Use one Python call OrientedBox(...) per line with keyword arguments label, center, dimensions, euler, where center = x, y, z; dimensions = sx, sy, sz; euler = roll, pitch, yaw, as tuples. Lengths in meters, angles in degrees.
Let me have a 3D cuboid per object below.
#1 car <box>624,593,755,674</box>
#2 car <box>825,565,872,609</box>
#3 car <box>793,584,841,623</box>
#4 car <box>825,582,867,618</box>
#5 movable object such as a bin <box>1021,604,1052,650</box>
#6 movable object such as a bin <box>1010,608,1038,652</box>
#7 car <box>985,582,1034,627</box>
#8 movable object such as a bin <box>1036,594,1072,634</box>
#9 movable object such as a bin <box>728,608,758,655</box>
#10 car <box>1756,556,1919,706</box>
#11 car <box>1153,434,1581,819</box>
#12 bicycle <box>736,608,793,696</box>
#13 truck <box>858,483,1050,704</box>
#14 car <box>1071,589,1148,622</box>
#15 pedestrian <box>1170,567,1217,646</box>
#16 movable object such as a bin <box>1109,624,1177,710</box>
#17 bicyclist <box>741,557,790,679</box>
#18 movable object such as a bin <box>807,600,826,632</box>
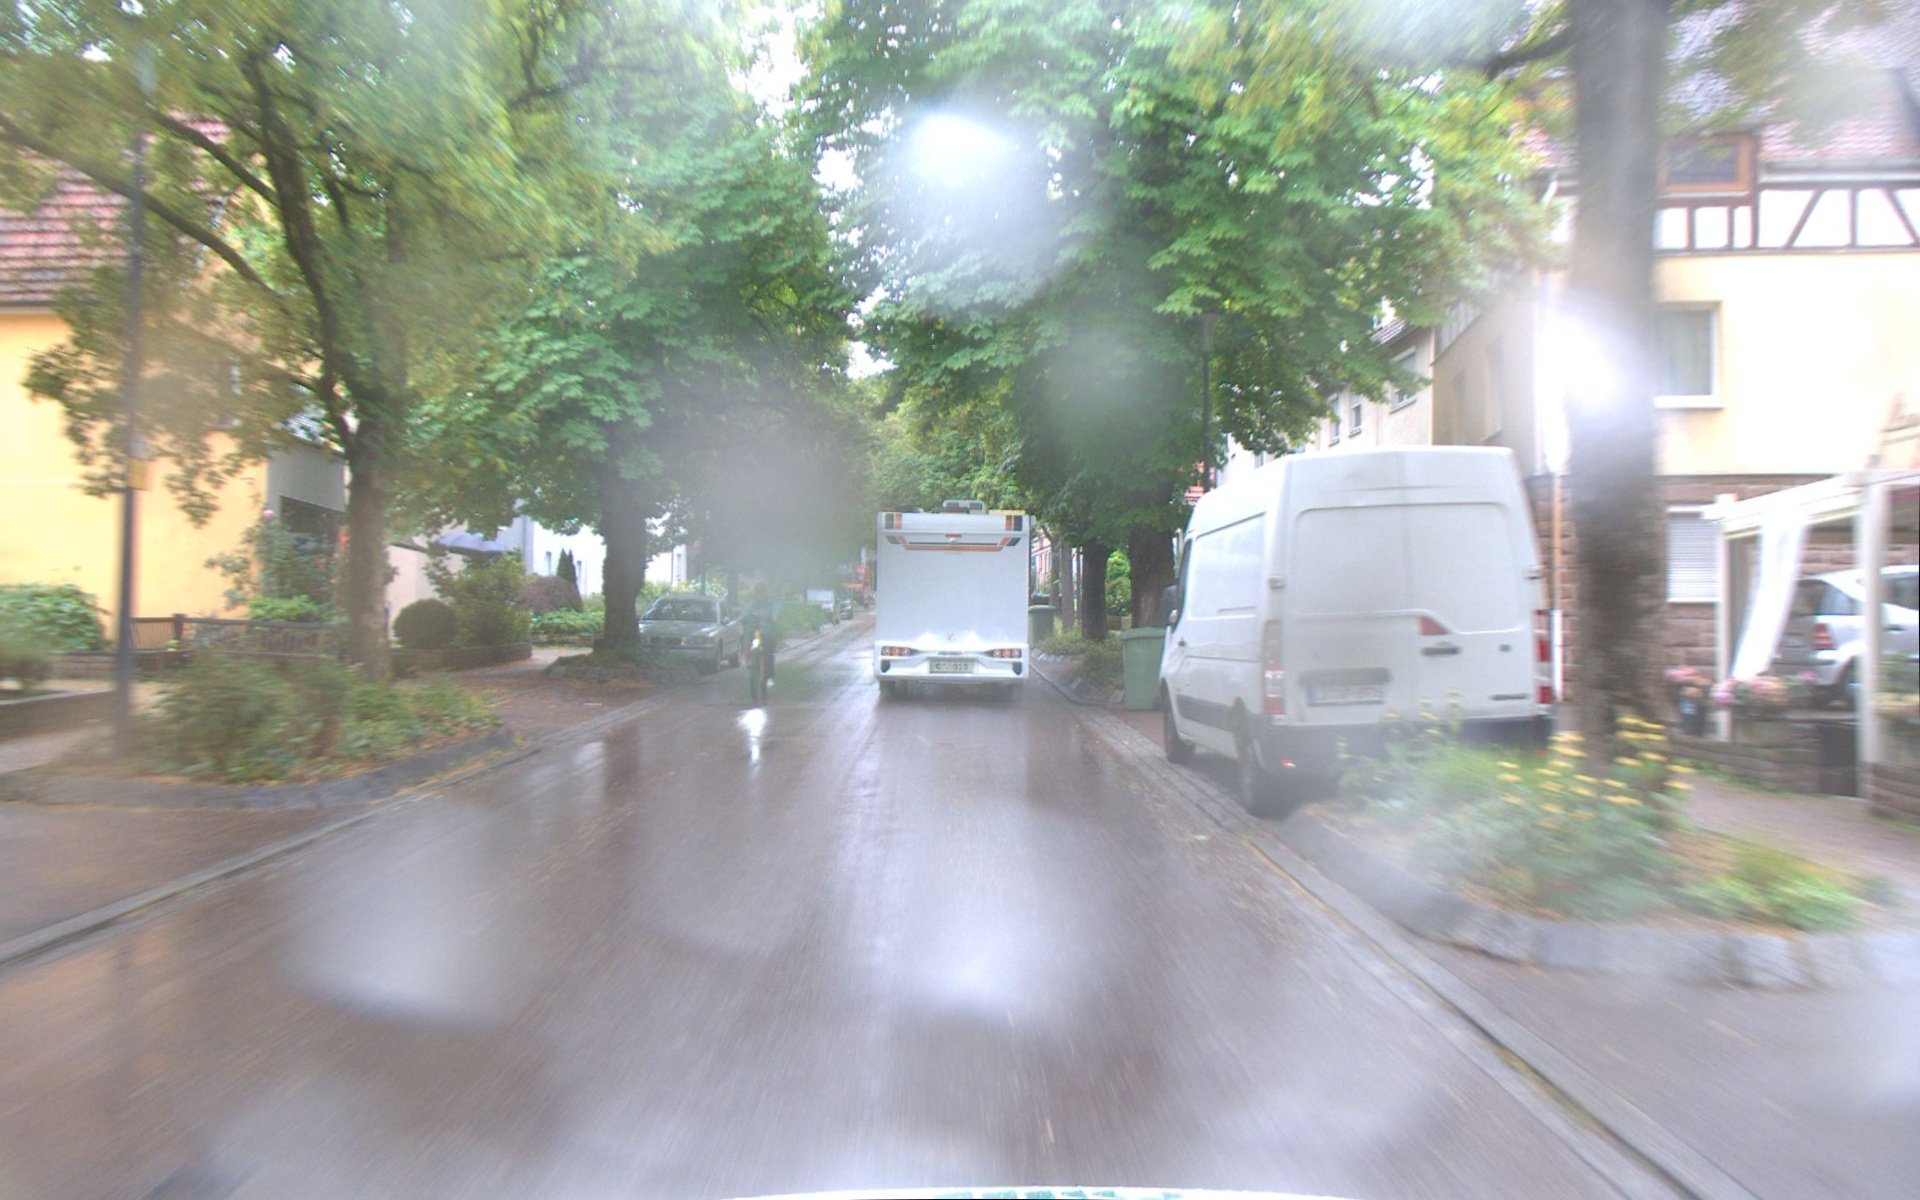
OrientedBox(label="car", center=(-5.227, 0.601, 32.535), dimensions=(1.736, 1.413, 4.546), euler=(2, 0, 0))
OrientedBox(label="car", center=(-6.715, -0.824, 100.195), dimensions=(2.255, 2.526, 5.787), euler=(1, 1, 2))
OrientedBox(label="car", center=(-6.056, 0.127, 70.519), dimensions=(1.613, 1.560, 3.866), euler=(1, 1, 1))
OrientedBox(label="car", center=(-5.442, -0.021, 79.372), dimensions=(1.735, 1.580, 4.000), euler=(2, 1, -1))
OrientedBox(label="movable object such as a bin", center=(1.854, 0.654, 40.196), dimensions=(0.674, 1.101, 0.540), euler=(1, 0, -5))
OrientedBox(label="movable object such as a bin", center=(1.644, 0.769, 42.499), dimensions=(0.631, 1.101, 0.540), euler=(1, 0, -5))
OrientedBox(label="car", center=(2.063, 0.164, 70.178), dimensions=(1.875, 1.823, 4.488), euler=(1, 1, -1))
OrientedBox(label="movable object such as a bin", center=(3.222, 0.471, 56.843), dimensions=(1.199, 1.338, 1.134), euler=(0, 0, 1))
OrientedBox(label="movable object such as a bin", center=(-5.238, 0.756, 39.957), dimensions=(0.582, 1.081, 0.545), euler=(3, 0, 3))
OrientedBox(label="car", center=(11.169, 0.323, 19.016), dimensions=(3.215, 1.623, 1.662), euler=(-2, -1, 6))
OrientedBox(label="car", center=(2.995, 0.176, 13.591), dimensions=(2.097, 2.503, 5.434), euler=(1, 0, -1))
OrientedBox(label="bicycle", center=(-2.851, 0.738, 24.270), dimensions=(0.614, 1.230, 1.980), euler=(1, 0, -1))
OrientedBox(label="truck", center=(-0.112, -0.092, 26.153), dimensions=(2.639, 3.038, 6.235), euler=(1, 0, -1))
OrientedBox(label="car", center=(6.888, 0.233, 76.441), dimensions=(3.298, 1.455, 1.629), euler=(-1, 0, -4))
OrientedBox(label="pedestrian", center=(5.098, 0.142, 36.085), dimensions=(0.934, 1.681, 0.794), euler=(-1, -1, 13))
OrientedBox(label="movable object such as a bin", center=(2.402, 0.875, 21.792), dimensions=(0.781, 1.094, 0.878), euler=(1, 0, -1))
OrientedBox(label="bicyclist", center=(-2.854, 0.262, 24.357), dimensions=(0.614, 1.761, 0.880), euler=(1, 0, -1))
OrientedBox(label="movable object such as a bin", center=(-5.081, 0.554, 58.598), dimensions=(0.629, 1.130, 0.536), euler=(0, 1, 1))
